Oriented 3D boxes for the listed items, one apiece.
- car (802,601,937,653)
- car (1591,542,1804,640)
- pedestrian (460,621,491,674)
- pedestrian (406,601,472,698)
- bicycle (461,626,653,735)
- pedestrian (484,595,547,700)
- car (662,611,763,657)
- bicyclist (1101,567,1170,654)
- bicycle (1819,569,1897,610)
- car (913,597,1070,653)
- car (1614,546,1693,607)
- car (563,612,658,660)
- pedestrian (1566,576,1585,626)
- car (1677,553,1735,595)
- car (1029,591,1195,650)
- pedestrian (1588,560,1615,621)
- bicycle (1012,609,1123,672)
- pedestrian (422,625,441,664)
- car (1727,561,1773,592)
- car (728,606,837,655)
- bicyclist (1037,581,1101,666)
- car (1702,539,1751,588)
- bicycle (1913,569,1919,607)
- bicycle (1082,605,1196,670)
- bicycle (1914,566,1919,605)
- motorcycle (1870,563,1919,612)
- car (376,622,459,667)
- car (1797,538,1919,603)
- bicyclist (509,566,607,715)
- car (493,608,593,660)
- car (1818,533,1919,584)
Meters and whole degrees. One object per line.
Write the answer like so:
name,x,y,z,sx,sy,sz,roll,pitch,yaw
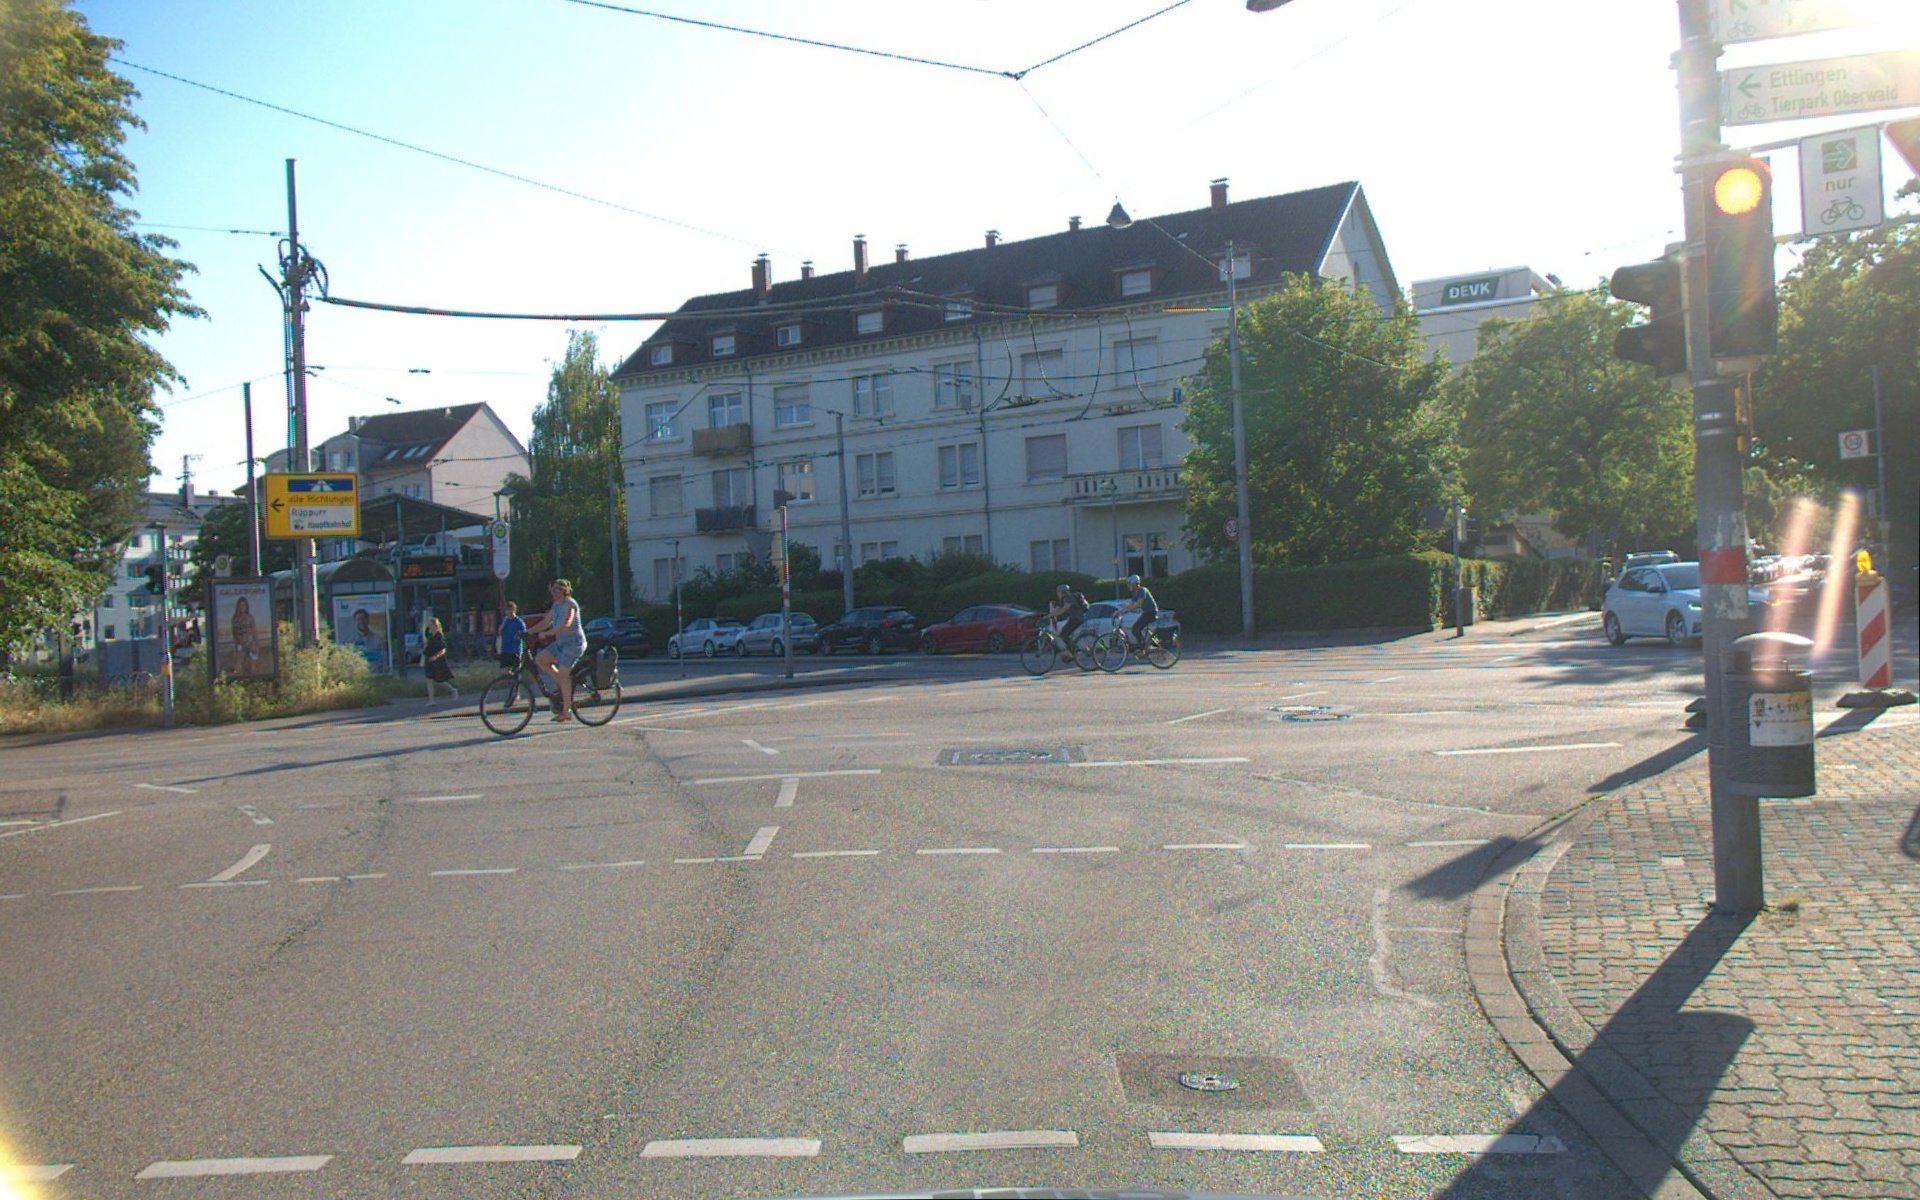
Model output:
car,-3.030,0.910,54.565,1.970,1.472,4.634,-6,2,-41
car,12.909,-0.150,29.247,1.853,1.512,3.999,-3,0,-1
pedestrian,-19.092,1.862,65.163,0.914,2.048,0.759,-3,0,-37
pedestrian,-10.042,0.939,31.909,0.894,1.777,1.067,-3,0,-3
bicycle,-4.593,0.902,18.890,1.991,1.087,0.657,-3,0,-30
pedestrian,-8.650,0.916,32.207,0.894,1.958,1.067,-3,0,-3
car,-9.174,1.272,61.207,1.830,1.472,3.899,-6,2,-41
bicyclist,3.270,0.191,30.855,1.017,1.558,0.695,-3,0,-16
bicycle,22.774,-0.261,41.976,1.691,0.949,0.671,-3,0,29
car,0.914,0.768,50.118,4.625,1.400,1.974,-3,2,44
car,25.348,-0.869,60.329,2.308,2.049,5.306,-3,0,26
car,-14.192,1.476,66.964,1.830,1.696,4.304,-6,2,-41
pedestrian,22.283,0.044,59.874,0.567,1.761,0.608,-3,0,23
car,35.642,-1.249,78.966,2.308,1.826,5.306,-3,0,26
car,4.199,0.591,46.174,1.916,1.400,4.426,-6,2,-43
pedestrian,20.327,-0.299,52.402,0.648,1.871,0.682,-3,0,28
bicycle,2.054,0.768,31.571,1.979,1.087,0.661,-3,0,-15
pedestrian,-21.128,1.788,66.128,0.560,1.527,0.672,-3,0,-29
car,51.022,-1.535,106.758,2.310,1.826,5.301,-3,0,29
car,-6.210,1.084,57.760,1.970,1.472,3.663,-6,2,-41
bicyclist,2.078,0.449,31.563,1.017,1.558,0.658,-3,0,-14
car,43.112,-2.033,92.938,2.308,2.558,5.306,-3,0,26
bicycle,24.732,-0.343,41.176,1.691,0.949,0.561,-3,0,29
bicycle,3.330,0.681,30.788,1.980,1.087,0.660,-3,0,-16
bicycle,24.373,-0.398,40.497,1.691,0.949,0.561,-3,0,29
motorcycle,22.935,-0.328,39.586,1.912,1.128,0.837,-3,0,24
car,-27.191,2.229,82.779,2.039,1.995,5.073,-6,2,-41
car,31.343,-1.017,55.664,5.510,1.958,2.360,-3,-2,26
bicyclist,-4.613,0.453,18.977,0.846,1.633,0.769,-3,0,-30
car,-18.162,1.518,71.943,2.039,1.995,5.073,-6,2,-41
car,40.816,-1.827,73.114,4.990,1.958,2.360,-3,-2,26
